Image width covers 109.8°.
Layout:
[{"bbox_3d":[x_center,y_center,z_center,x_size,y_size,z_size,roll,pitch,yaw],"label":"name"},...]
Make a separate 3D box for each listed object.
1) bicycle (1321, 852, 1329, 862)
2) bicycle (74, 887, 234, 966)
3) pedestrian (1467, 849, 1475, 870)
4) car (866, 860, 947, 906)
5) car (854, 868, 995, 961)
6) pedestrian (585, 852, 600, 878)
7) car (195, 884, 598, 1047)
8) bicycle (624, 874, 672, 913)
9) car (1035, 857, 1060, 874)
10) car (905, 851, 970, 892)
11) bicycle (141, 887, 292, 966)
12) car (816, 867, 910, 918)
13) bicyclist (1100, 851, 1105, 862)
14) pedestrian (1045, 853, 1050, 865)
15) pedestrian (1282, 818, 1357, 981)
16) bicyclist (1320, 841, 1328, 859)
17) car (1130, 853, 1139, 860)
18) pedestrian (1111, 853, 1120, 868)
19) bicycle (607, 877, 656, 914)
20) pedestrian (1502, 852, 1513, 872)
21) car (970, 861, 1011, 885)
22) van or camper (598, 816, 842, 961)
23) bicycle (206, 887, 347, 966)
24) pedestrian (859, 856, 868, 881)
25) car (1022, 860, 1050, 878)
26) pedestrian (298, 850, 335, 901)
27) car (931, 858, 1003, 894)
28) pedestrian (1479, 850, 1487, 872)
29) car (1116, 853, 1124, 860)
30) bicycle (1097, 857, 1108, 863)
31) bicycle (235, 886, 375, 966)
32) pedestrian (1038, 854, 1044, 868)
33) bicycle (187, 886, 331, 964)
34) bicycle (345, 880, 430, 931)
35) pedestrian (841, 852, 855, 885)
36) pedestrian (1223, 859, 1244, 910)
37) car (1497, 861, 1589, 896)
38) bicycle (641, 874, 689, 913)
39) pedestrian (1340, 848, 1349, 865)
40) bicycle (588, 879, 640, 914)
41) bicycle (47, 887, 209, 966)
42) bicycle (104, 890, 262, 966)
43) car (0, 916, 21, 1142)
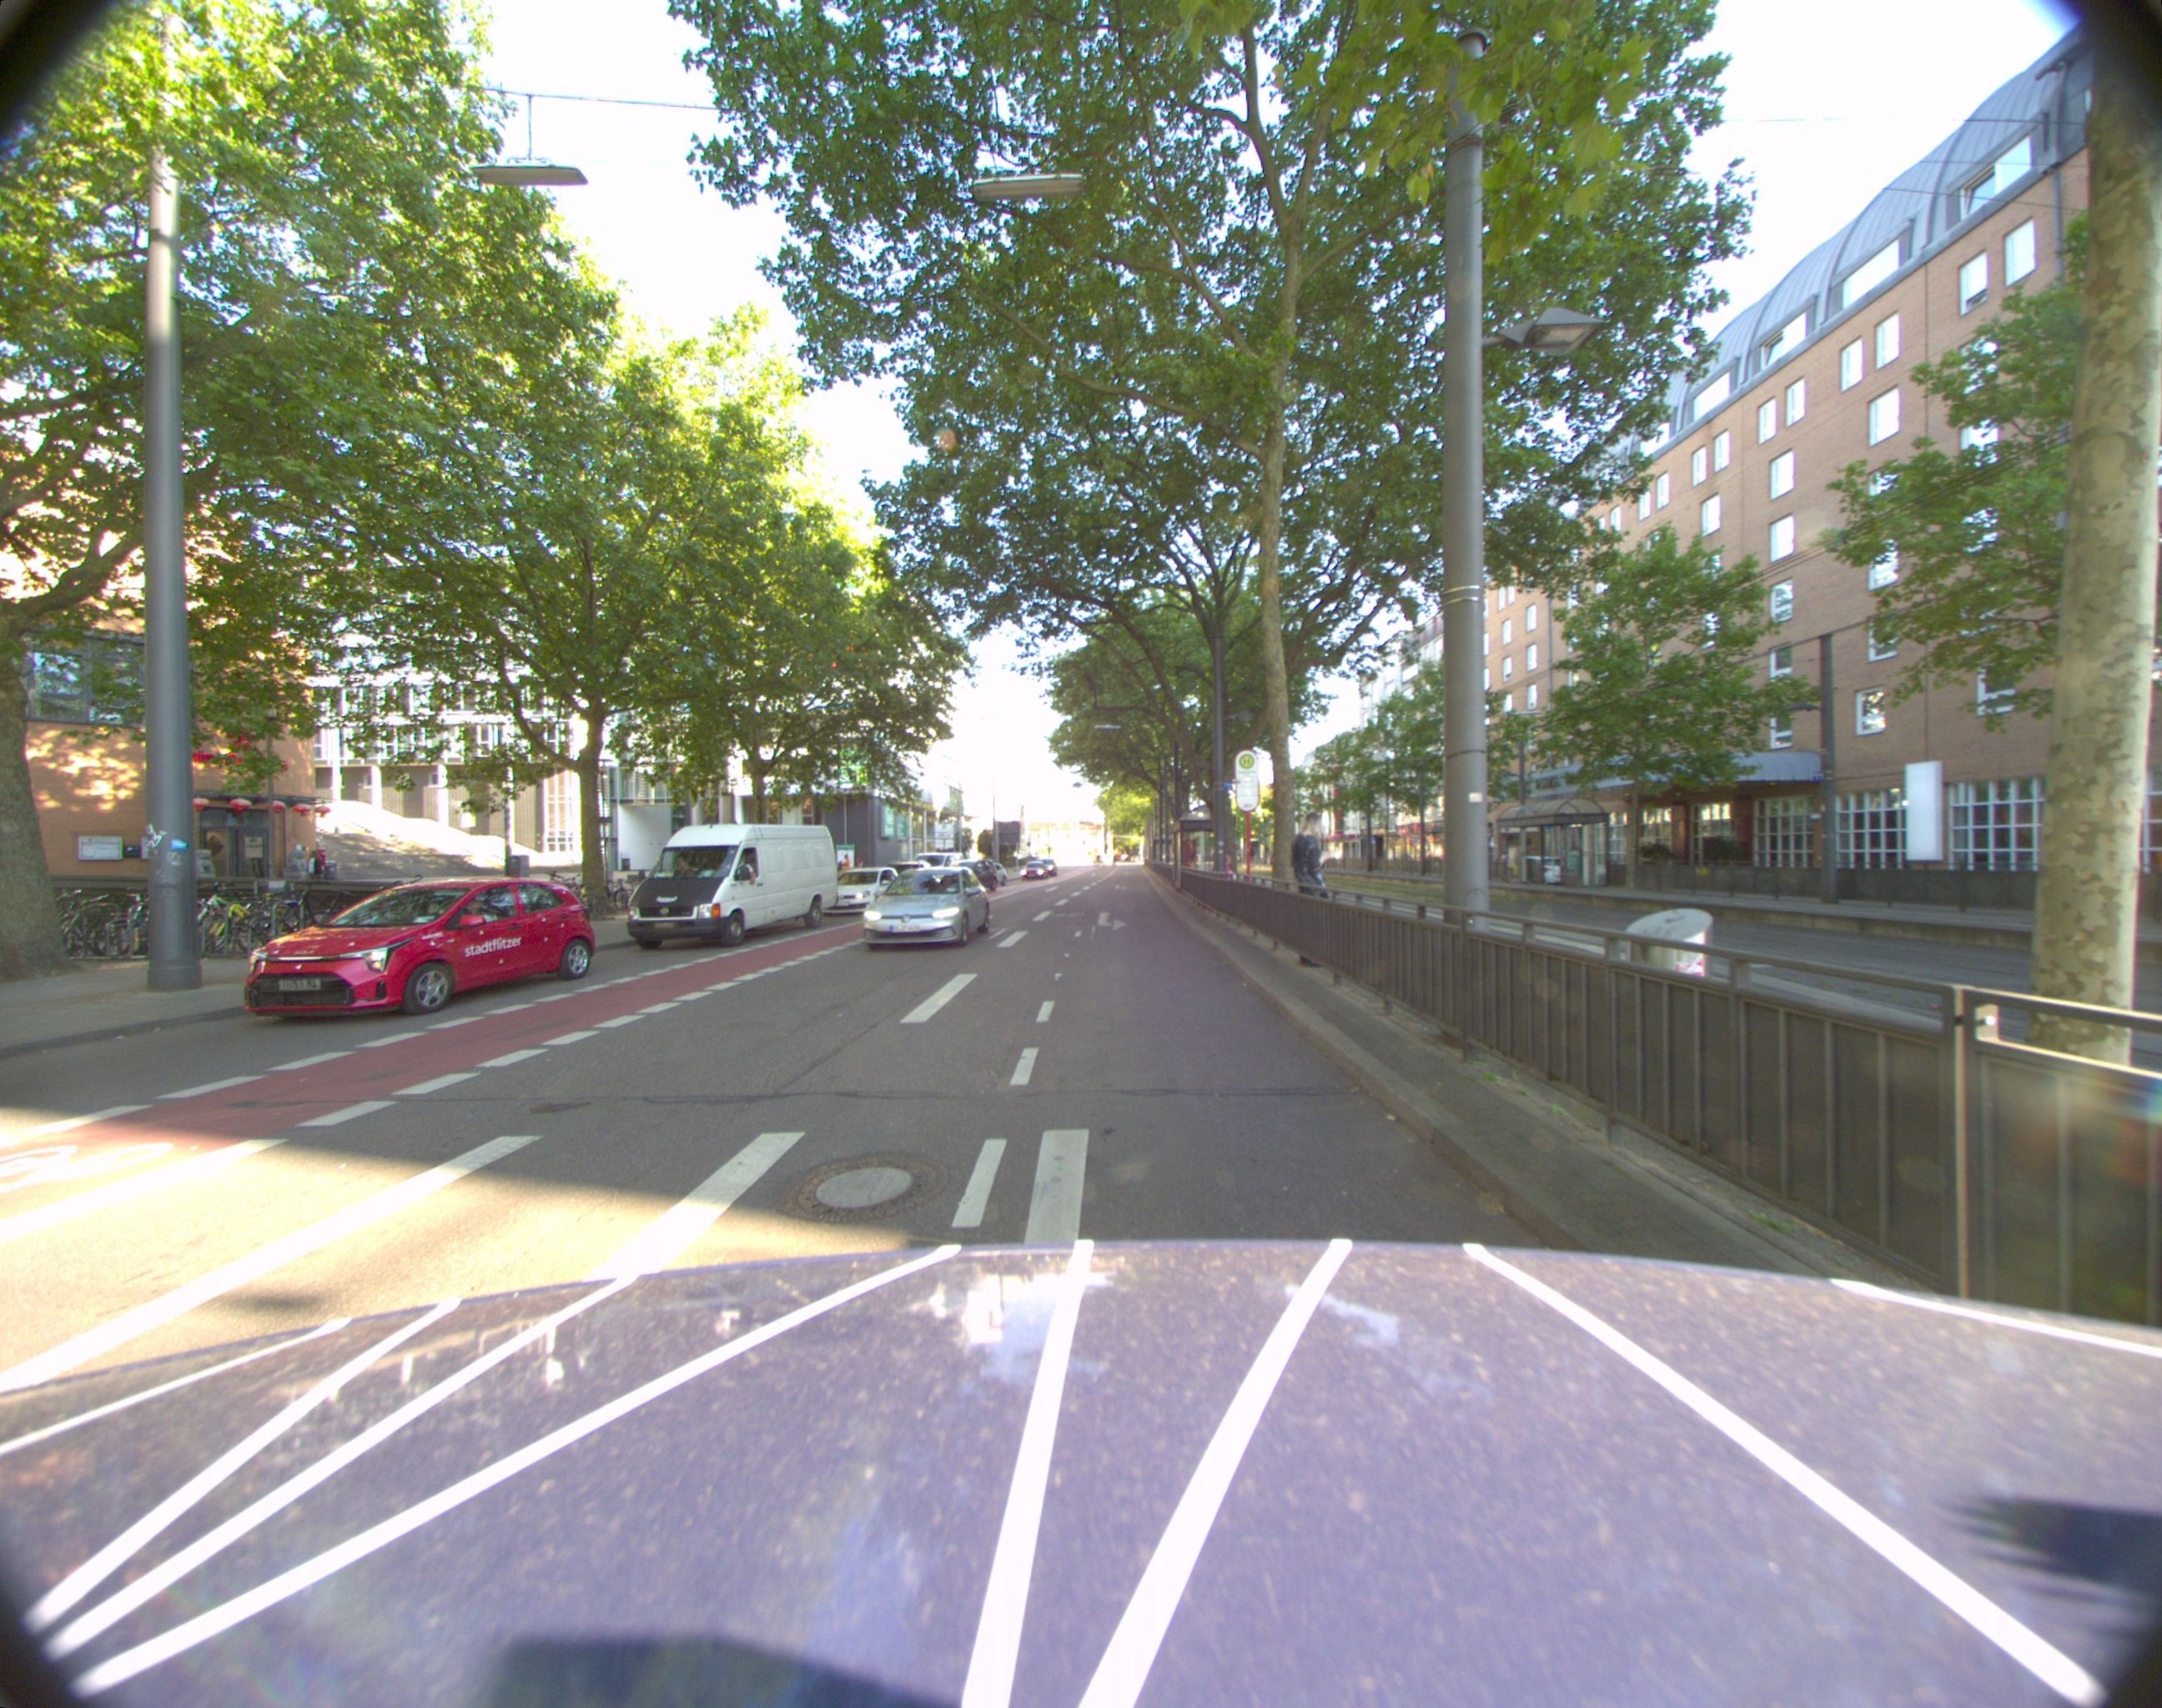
[{"bbox_3d":[25.556,0.329,79.564,0.451,0.998,1.753,-1,0,6],"label":"bicycle"},{"bbox_3d":[-15.922,1.204,13.134,0.458,1.187,1.850,0,0,1],"label":"bicycle"},{"bbox_3d":[27.527,0.400,53.625,0.438,1.497,0.659,0,1,23],"label":"pedestrian"},{"bbox_3d":[-6.772,1.087,29.929,1.818,1.610,4.229,-1,0,5],"label":"car"},{"bbox_3d":[-2.875,1.056,14.835,1.733,1.432,4.000,-2,0,2],"label":"car"},{"bbox_3d":[-28.894,0.639,44.934,0.719,1.549,0.639,-1,1,-35],"label":"pedestrian"},{"bbox_3d":[-7.948,1.179,9.358,1.606,1.449,3.651,-1,0,0],"label":"car"},{"bbox_3d":[-14.113,1.272,24.819,0.495,1.187,1.850,0,0,1],"label":"bicycle"},{"bbox_3d":[-2.961,1.042,68.061,1.801,1.438,4.001,0,0,3],"label":"car"},{"bbox_3d":[-7.538,0.865,40.410,1.965,1.983,4.960,-1,0,7],"label":"car"},{"bbox_3d":[-14.841,1.200,13.123,0.447,1.187,1.850,0,0,1],"label":"bicycle"},{"bbox_3d":[-7.009,1.187,24.874,1.682,1.420,4.001,-1,0,3],"label":"car"},{"bbox_3d":[3.218,0.375,113.192,0.714,1.707,0.673,-1,1,-1],"label":"bicyclist"},{"bbox_3d":[-4.446,0.627,100.193,0.611,1.644,0.583,-1,1,1],"label":"pedestrian"},{"bbox_3d":[2.852,0.520,9.106,0.623,1.873,0.605,-2,3,-12],"label":"pedestrian"},{"bbox_3d":[25.465,-0.408,79.577,0.572,1.893,0.813,0,1,6],"label":"bicyclist"},{"bbox_3d":[14.643,0.644,207.645,1.998,2.002,4.000,-1,0,0],"label":"car"},{"bbox_3d":[4.884,0.922,107.780,0.800,2.002,0.859,-1,1,32],"label":"pedestrian"},{"bbox_3d":[-14.657,1.326,24.817,0.522,1.088,1.797,0,0,1],"label":"bicycle"},{"bbox_3d":[30.570,0.579,54.432,0.519,1.427,0.516,0,1,4],"label":"pedestrian"},{"bbox_3d":[-5.560,1.171,47.162,1.801,1.369,4.001,0,0,3],"label":"car"},{"bbox_3d":[-7.562,0.625,17.027,1.998,2.563,6.575,-2,0,3],"label":"van or camper"},{"bbox_3d":[-13.819,1.205,13.133,0.448,1.187,1.850,0,0,1],"label":"bicycle"},{"bbox_3d":[-12.270,0.822,42.886,0.301,1.367,0.502,-1,1,4],"label":"pedestrian"},{"bbox_3d":[-3.532,1.150,60.304,1.801,1.369,4.001,0,0,3],"label":"car"},{"bbox_3d":[-30.789,0.874,30.613,0.875,2.025,0.586,0,1,6],"label":"pedestrian"},{"bbox_3d":[-5.504,1.016,37.204,1.964,1.610,4.335,-1,0,14],"label":"car"},{"bbox_3d":[28.193,0.512,53.263,0.438,1.511,0.659,0,1,23],"label":"pedestrian"},{"bbox_3d":[11.042,0.696,214.705,1.998,2.002,4.001,-1,0,4],"label":"car"},{"bbox_3d":[3.175,0.903,113.193,1.670,0.879,0.581,-1,1,-1],"label":"bicycle"},{"bbox_3d":[-13.316,1.195,13.127,0.482,1.187,1.850,0,0,1],"label":"bicycle"},{"bbox_3d":[-4.820,0.879,92.351,0.648,1.644,0.643,-1,1,1],"label":"pedestrian"},{"bbox_3d":[-14.324,1.201,13.323,0.484,1.187,1.850,0,0,1],"label":"bicycle"},{"bbox_3d":[-17.840,1.287,19.590,0.517,1.187,1.790,0,0,1],"label":"bicycle"},{"bbox_3d":[-12.818,0.790,41.773,0.627,1.758,0.451,-1,1,2],"label":"pedestrian"},{"bbox_3d":[3.934,0.778,19.621,0.500,1.308,0.419,0,1,8],"label":"pedestrian"},{"bbox_3d":[21.322,1.094,35.244,1.760,1.479,4.309,-1,0,2],"label":"car"},{"bbox_3d":[-13.570,1.270,24.840,0.522,1.187,1.850,0,0,1],"label":"bicycle"},{"bbox_3d":[31.483,0.299,90.947,0.806,2.002,0.763,-1,1,1],"label":"pedestrian"},{"bbox_3d":[-15.218,1.366,24.793,0.516,1.027,1.850,0,0,1],"label":"bicycle"},{"bbox_3d":[-16.385,1.199,13.137,0.435,1.187,1.850,0,0,1],"label":"bicycle"},{"bbox_3d":[-15.424,1.237,13.132,0.485,1.118,1.850,0,0,1],"label":"bicycle"},{"bbox_3d":[-7.990,1.167,2.954,1.743,1.476,4.251,-1,0,0],"label":"car"}]
